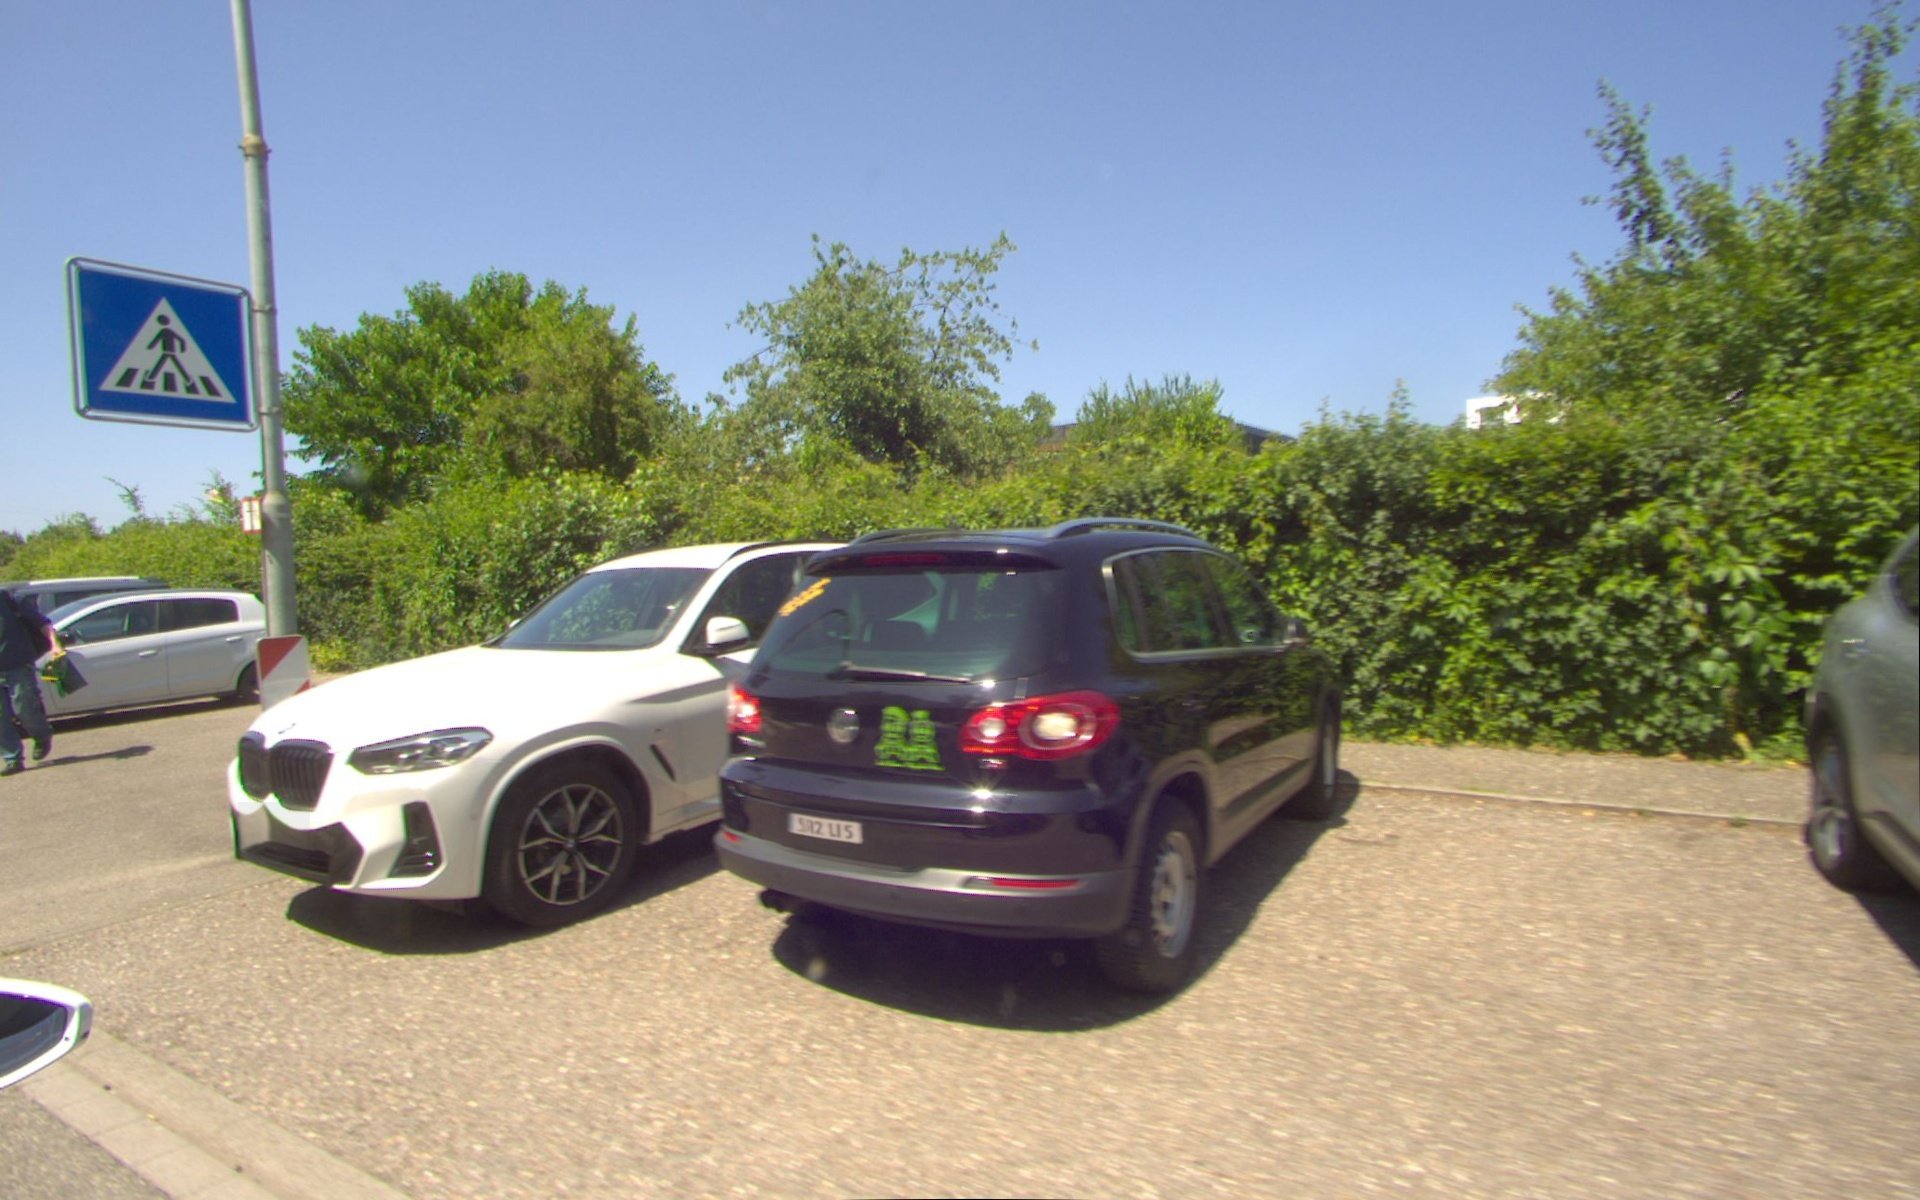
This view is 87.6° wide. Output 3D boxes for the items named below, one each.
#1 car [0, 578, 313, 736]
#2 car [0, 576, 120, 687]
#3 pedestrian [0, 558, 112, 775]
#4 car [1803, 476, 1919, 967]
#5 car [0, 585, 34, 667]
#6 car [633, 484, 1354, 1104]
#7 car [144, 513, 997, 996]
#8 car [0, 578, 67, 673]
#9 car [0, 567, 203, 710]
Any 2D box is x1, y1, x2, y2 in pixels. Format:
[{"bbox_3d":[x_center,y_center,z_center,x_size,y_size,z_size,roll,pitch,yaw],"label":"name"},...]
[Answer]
[{"bbox_3d":[-10.091,0.592,11.865,1.588,1.472,3.673,1,6,37],"label":"car"},{"bbox_3d":[-14.969,0.541,14.836,1.515,1.549,3.445,0,5,28],"label":"car"},{"bbox_3d":[-8.259,0.550,8.797,1.146,1.776,1.013,2,5,45],"label":"pedestrian"},{"bbox_3d":[3.792,0.437,2.565,1.749,1.665,4.149,0,4,30],"label":"car"},{"bbox_3d":[-19.539,0.573,18.416,1.567,1.525,3.374,1,4,36],"label":"car"},{"bbox_3d":[0.617,0.441,4.874,1.741,1.709,3.962,0,3,32],"label":"car"},{"bbox_3d":[-1.725,0.458,5.964,1.825,1.753,4.440,-1,3,33],"label":"car"},{"bbox_3d":[-17.442,0.553,16.218,1.835,1.545,3.955,0,5,27],"label":"car"},{"bbox_3d":[-12.654,0.523,13.102,1.638,1.664,3.952,0,5,28],"label":"car"}]
